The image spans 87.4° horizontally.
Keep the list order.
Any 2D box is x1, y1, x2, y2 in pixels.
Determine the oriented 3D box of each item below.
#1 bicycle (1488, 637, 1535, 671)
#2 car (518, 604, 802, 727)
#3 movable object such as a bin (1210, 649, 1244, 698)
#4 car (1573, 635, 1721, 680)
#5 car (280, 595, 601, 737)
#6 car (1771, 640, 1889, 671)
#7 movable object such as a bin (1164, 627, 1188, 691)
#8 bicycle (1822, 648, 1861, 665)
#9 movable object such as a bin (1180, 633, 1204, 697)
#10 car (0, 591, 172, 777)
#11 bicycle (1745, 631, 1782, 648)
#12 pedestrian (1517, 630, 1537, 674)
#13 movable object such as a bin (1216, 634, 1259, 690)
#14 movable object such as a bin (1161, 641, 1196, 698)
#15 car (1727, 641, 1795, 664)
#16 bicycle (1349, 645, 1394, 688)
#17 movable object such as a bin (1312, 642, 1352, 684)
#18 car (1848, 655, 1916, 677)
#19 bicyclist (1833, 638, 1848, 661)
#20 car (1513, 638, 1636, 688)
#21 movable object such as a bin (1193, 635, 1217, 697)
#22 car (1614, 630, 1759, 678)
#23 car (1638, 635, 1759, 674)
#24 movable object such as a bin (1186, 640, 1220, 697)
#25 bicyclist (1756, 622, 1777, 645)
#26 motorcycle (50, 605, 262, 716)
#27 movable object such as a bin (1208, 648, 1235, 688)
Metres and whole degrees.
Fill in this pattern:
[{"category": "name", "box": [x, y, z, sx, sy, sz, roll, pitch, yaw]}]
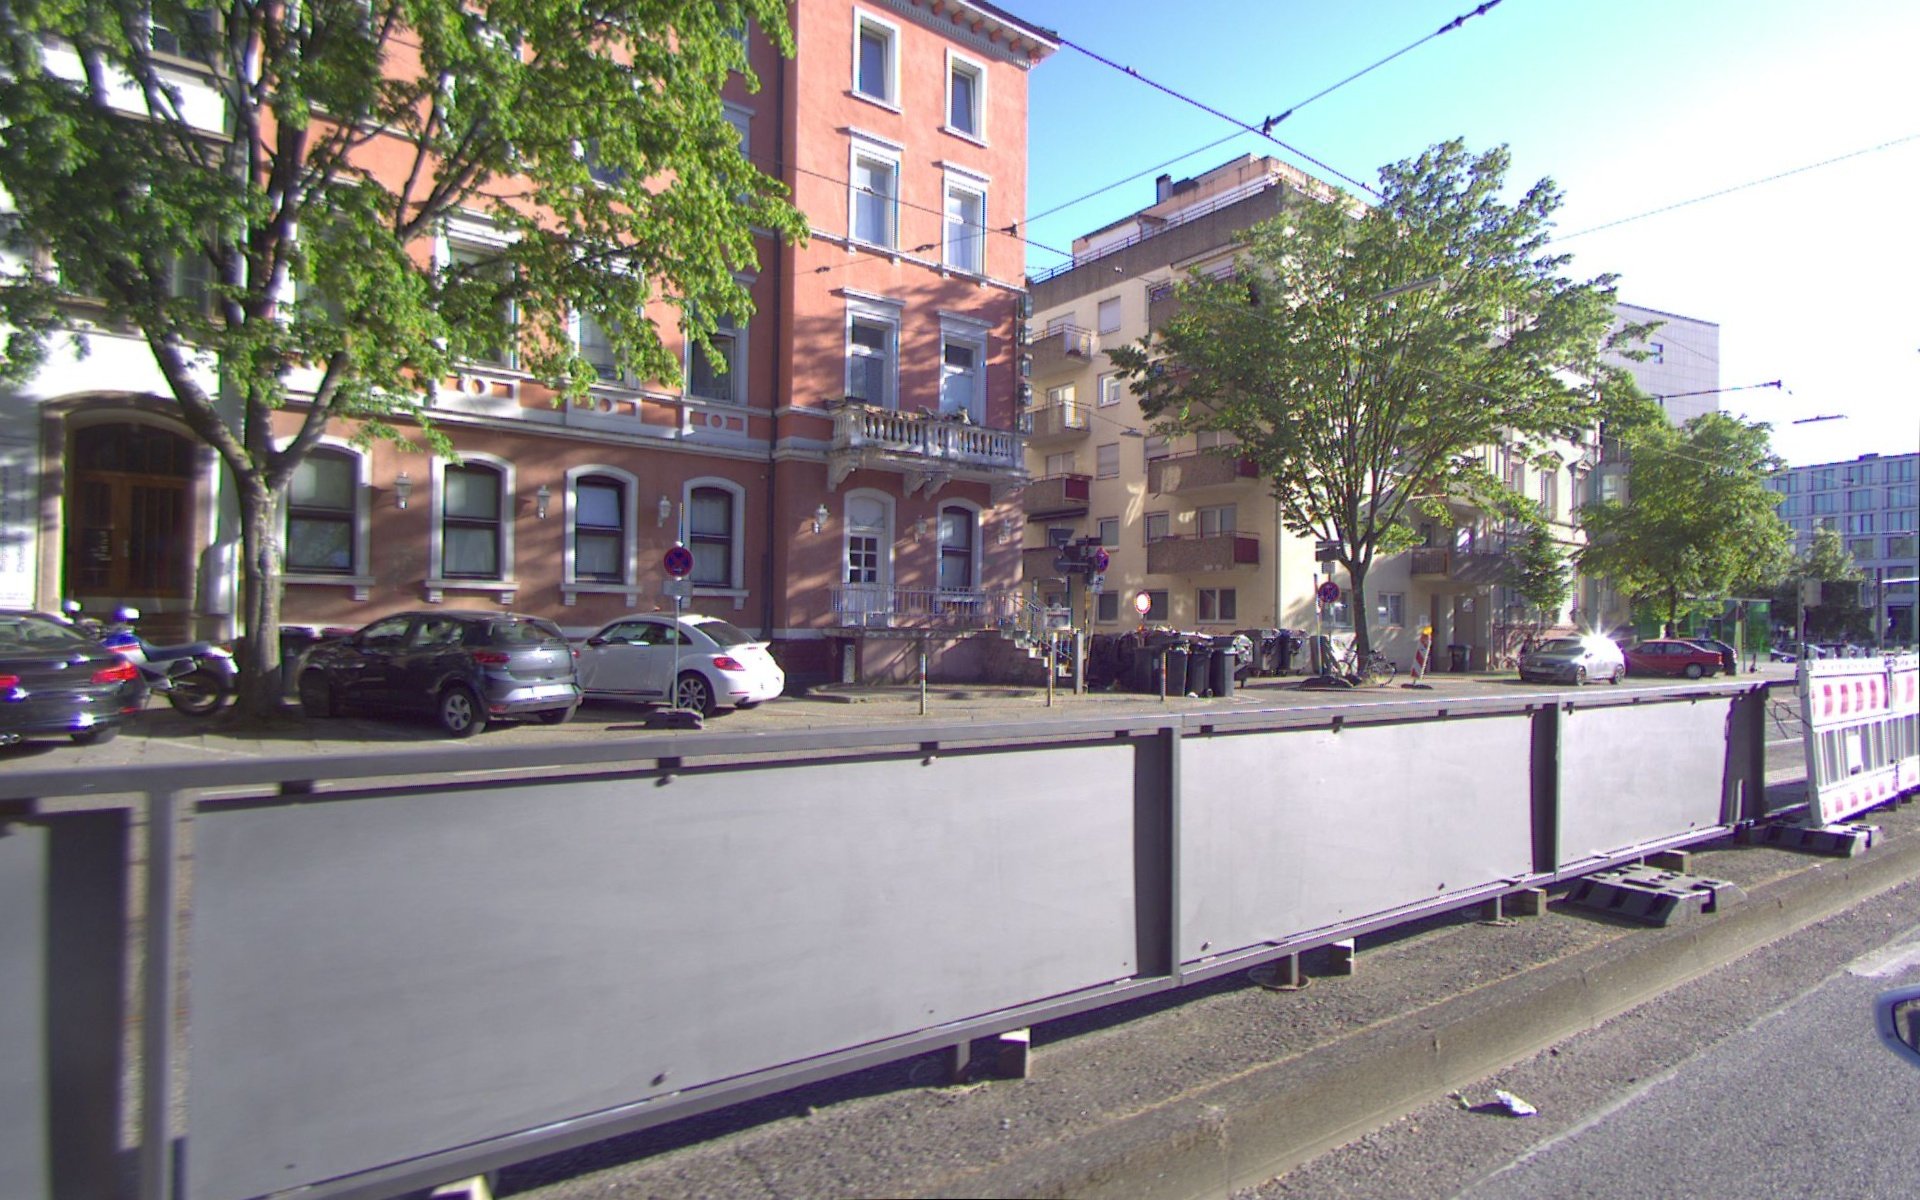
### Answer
[{"category": "bicycle", "box": [23.556, 2.294, 42.869, 2.985, 1.416, 0.711, 2, -2, -39]}, {"category": "car", "box": [-4.614, 0.932, 15.572, 3.838, 1.542, 1.736, 3, 1, 17]}, {"category": "movable object such as a bin", "box": [6.034, 1.652, 22.695, 0.631, 1.082, 0.378, 2, -2, -25]}, {"category": "car", "box": [26.606, 2.203, 39.085, 4.428, 1.444, 1.873, 2, -1, 22]}, {"category": "car", "box": [-6.947, 0.789, 13.449, 3.846, 1.528, 1.689, 3, 1, 22]}, {"category": "car", "box": [45.337, 2.883, 52.468, 4.439, 1.368, 1.586, 2, -1, 34]}, {"category": "movable object such as a bin", "box": [4.945, 1.348, 22.975, 0.382, 1.445, 0.378, 2, -1, -25]}, {"category": "bicycle", "box": [61.742, 3.965, 70.392, 0.777, 1.137, 1.923, 1, -2, -16]}, {"category": "movable object such as a bin", "box": [5.349, 1.490, 23.146, 0.380, 1.445, 0.378, 2, -1, -25]}, {"category": "car", "box": [-10.477, 0.742, 10.467, 3.907, 1.638, 1.635, 3, 0, 18]}, {"category": "bicycle", "box": [60.237, 2.951, 75.306, 0.872, 1.305, 2.047, 1, -2, -18]}, {"category": "pedestrian", "box": [22.137, 2.029, 39.234, 0.484, 1.693, 0.508, 2, -2, -31]}, {"category": "movable object such as a bin", "box": [7.569, 1.692, 27.368, 1.134, 1.477, 0.423, 3, -2, -31]}, {"category": "movable object such as a bin", "box": [4.817, 1.527, 22.148, 0.631, 1.218, 0.378, 2, -2, -25]}, {"category": "car", "box": [57.352, 3.745, 71.930, 1.502, 1.526, 3.519, 2, -1, -25]}, {"category": "bicycle", "box": [11.233, 1.813, 27.415, 1.386, 1.131, 0.263, 2, -2, -25]}, {"category": "movable object such as a bin", "box": [10.420, 1.774, 28.144, 1.134, 1.141, 0.423, 2, -2, -31]}, {"category": "car", "box": [69.929, 4.977, 76.239, 1.502, 1.526, 3.519, 2, -1, -25]}, {"category": "bicyclist", "box": [61.735, 3.459, 70.427, 0.584, 1.603, 0.618, 1, -2, -17]}, {"category": "car", "box": [19.775, 1.989, 32.265, 4.246, 1.429, 1.696, 2, 0, -33]}, {"category": "movable object such as a bin", "box": [5.734, 1.537, 23.497, 0.382, 1.445, 0.378, 2, -1, -25]}, {"category": "car", "box": [29.206, 2.133, 40.530, 4.427, 1.663, 1.590, 2, -1, 21]}, {"category": "car", "box": [34.409, 2.516, 46.975, 4.439, 1.590, 1.586, 2, -1, 34]}, {"category": "movable object such as a bin", "box": [5.427, 1.522, 22.451, 0.631, 1.258, 0.378, 2, -2, -25]}, {"category": "bicyclist", "box": [60.317, 2.507, 75.112, 0.831, 1.717, 0.889, 1, -2, -18]}, {"category": "motorcycle", "box": [-10.046, 0.770, 12.650, 1.903, 1.296, 0.676, 4, -2, -26]}, {"category": "movable object such as a bin", "box": [7.106, 1.841, 27.302, 0.546, 1.047, 0.445, 3, -2, -31]}]
